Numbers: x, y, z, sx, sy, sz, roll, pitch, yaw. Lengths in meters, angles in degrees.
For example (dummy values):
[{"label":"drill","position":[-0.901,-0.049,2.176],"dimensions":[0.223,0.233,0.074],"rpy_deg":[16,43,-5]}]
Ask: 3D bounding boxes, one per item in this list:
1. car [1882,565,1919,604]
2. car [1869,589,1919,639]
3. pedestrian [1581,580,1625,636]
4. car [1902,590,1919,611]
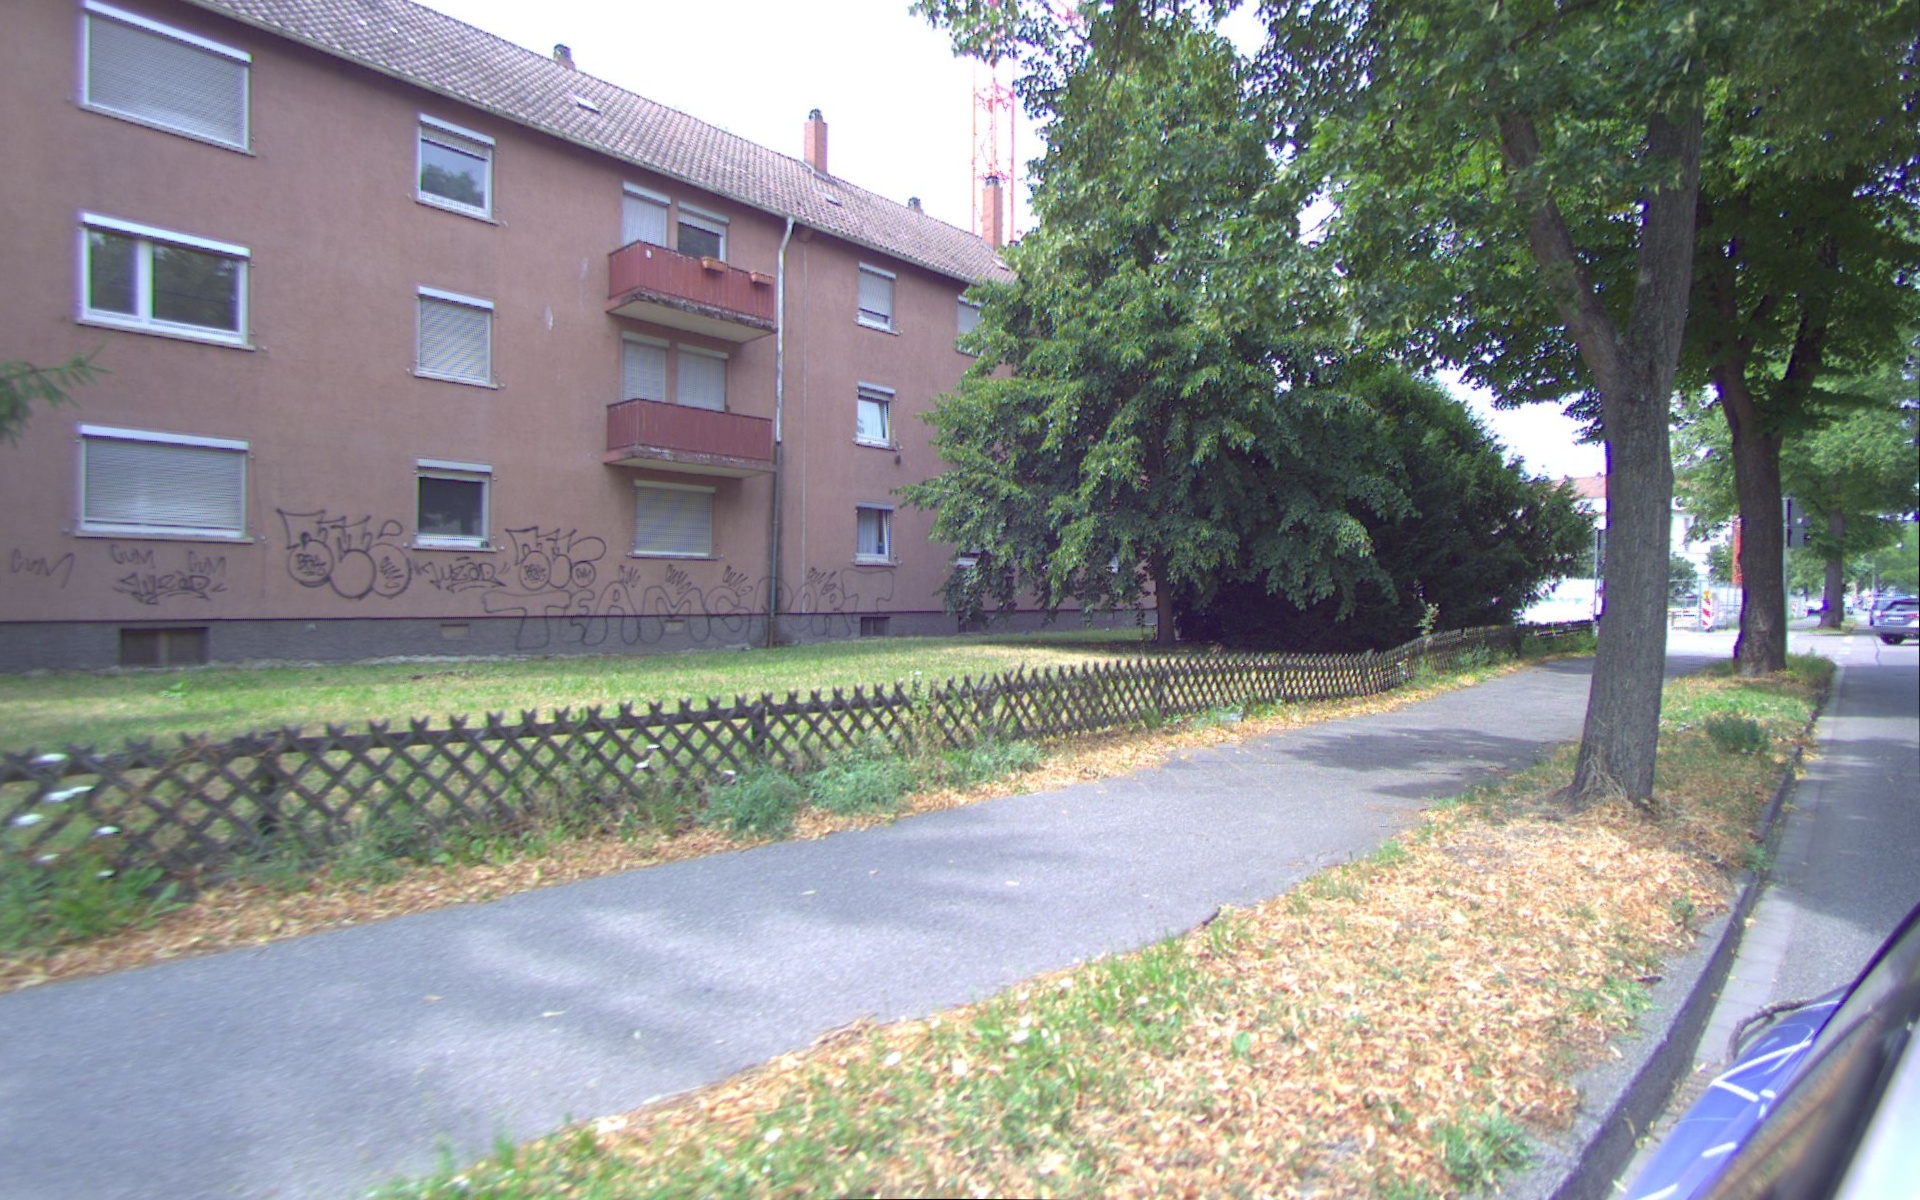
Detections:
[{"label":"car","position":[52.183,-0.814,55.565],"dimensions":[1.991,2.038,3.943],"rpy_deg":[4,3,39]},{"label":"car","position":[30.310,0.455,30.293],"dimensions":[4.304,1.461,2.010],"rpy_deg":[1,0,2]},{"label":"pedestrian","position":[21.489,0.265,33.824],"dimensions":[0.870,1.836,0.887],"rpy_deg":[1,2,-28]},{"label":"car","position":[145.555,0.094,153.935],"dimensions":[2.611,3.095,7.013],"rpy_deg":[3,2,39]}]
